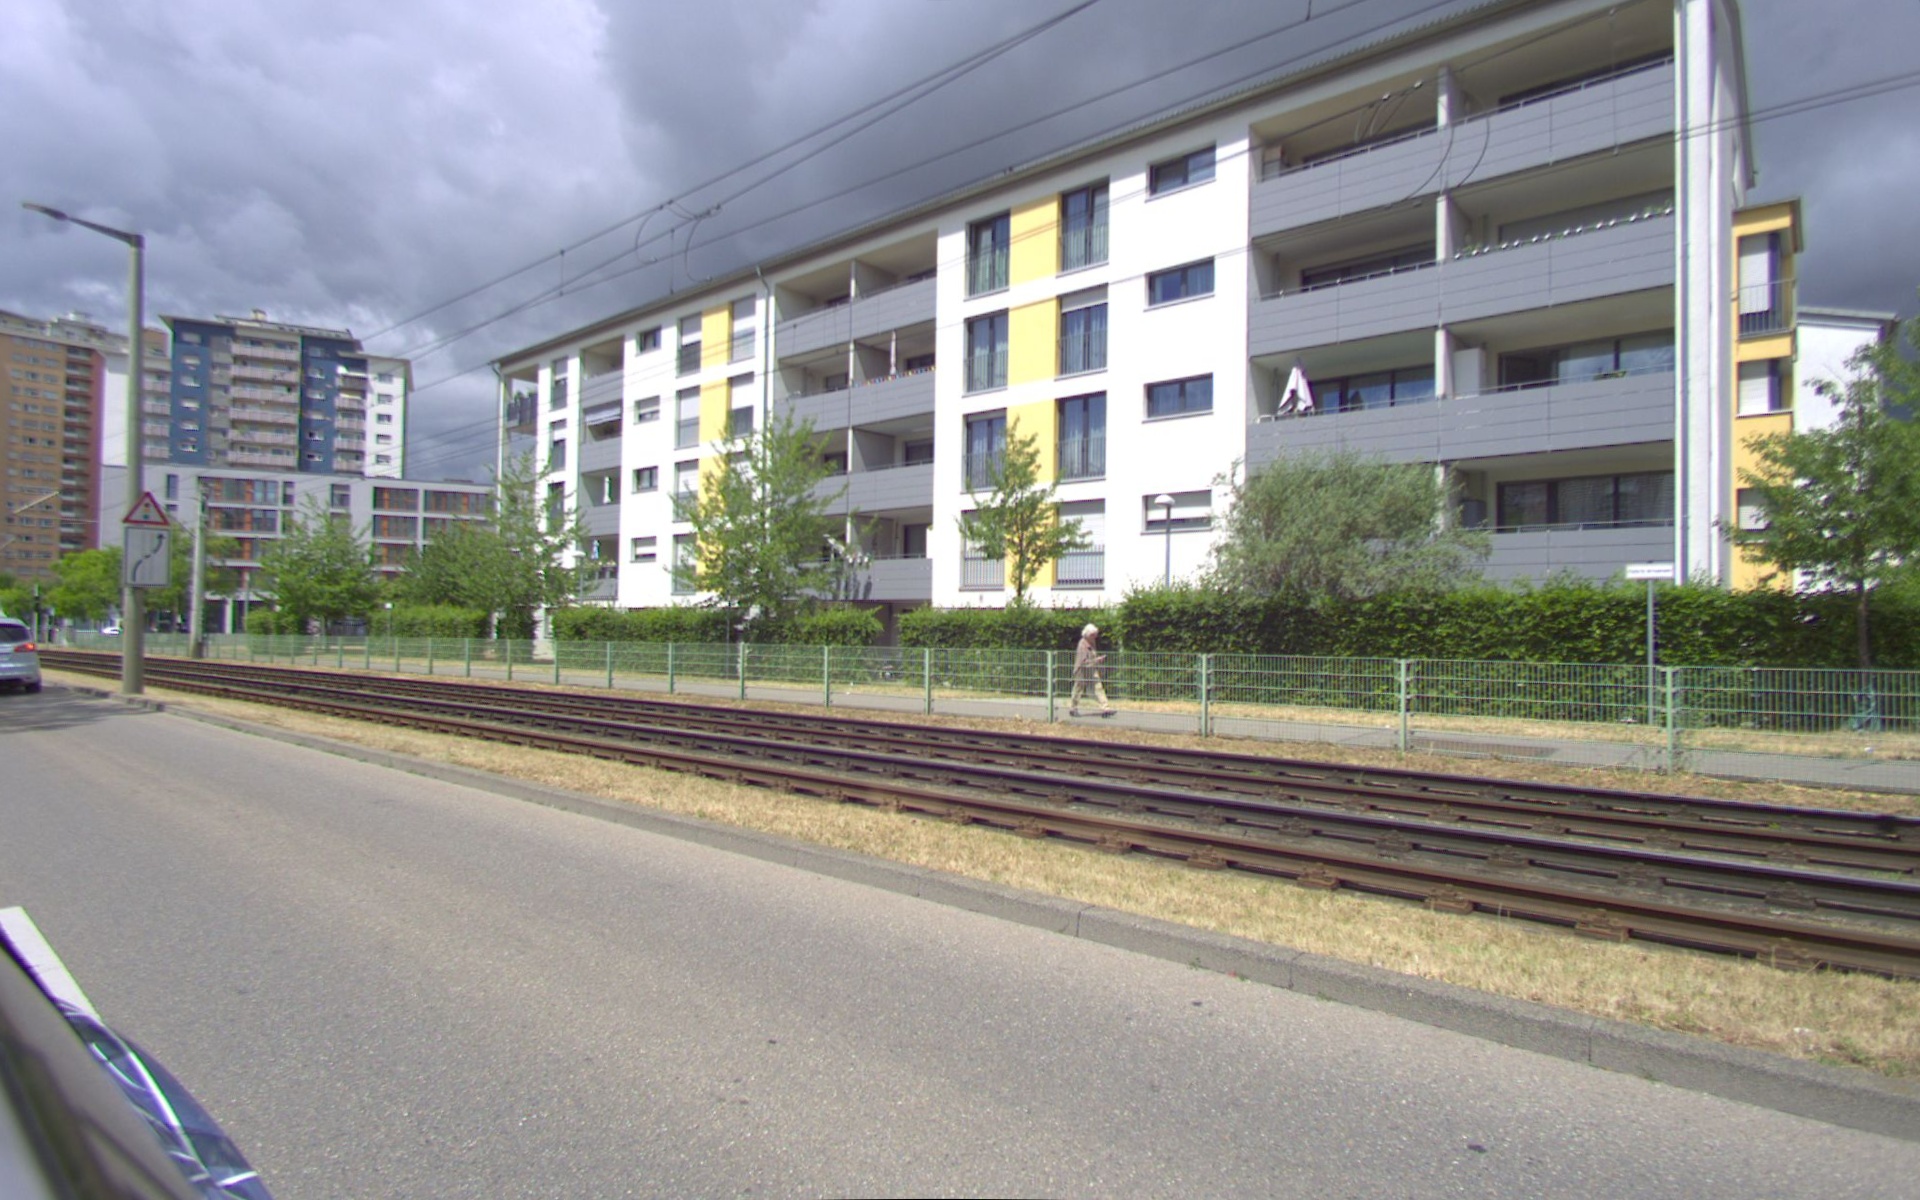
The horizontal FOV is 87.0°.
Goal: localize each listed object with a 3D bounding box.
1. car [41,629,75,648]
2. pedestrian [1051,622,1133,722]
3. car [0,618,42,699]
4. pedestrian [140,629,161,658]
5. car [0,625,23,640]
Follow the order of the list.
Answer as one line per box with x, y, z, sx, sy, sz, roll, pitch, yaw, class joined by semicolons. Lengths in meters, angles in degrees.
-78.332;3.324;87.885;3.804;1.635;1.868;-1;-2;44;car
2.051;1.084;15.696;0.995;1.494;0.788;-1;-2;40;pedestrian
-21.179;1.214;21.594;4.598;1.626;1.798;-1;-1;41;car
-46.746;2.516;58.448;0.937;1.625;0.746;-1;-2;40;pedestrian
-111.734;3.800;118.983;3.800;1.672;1.759;-1;-2;39;car
